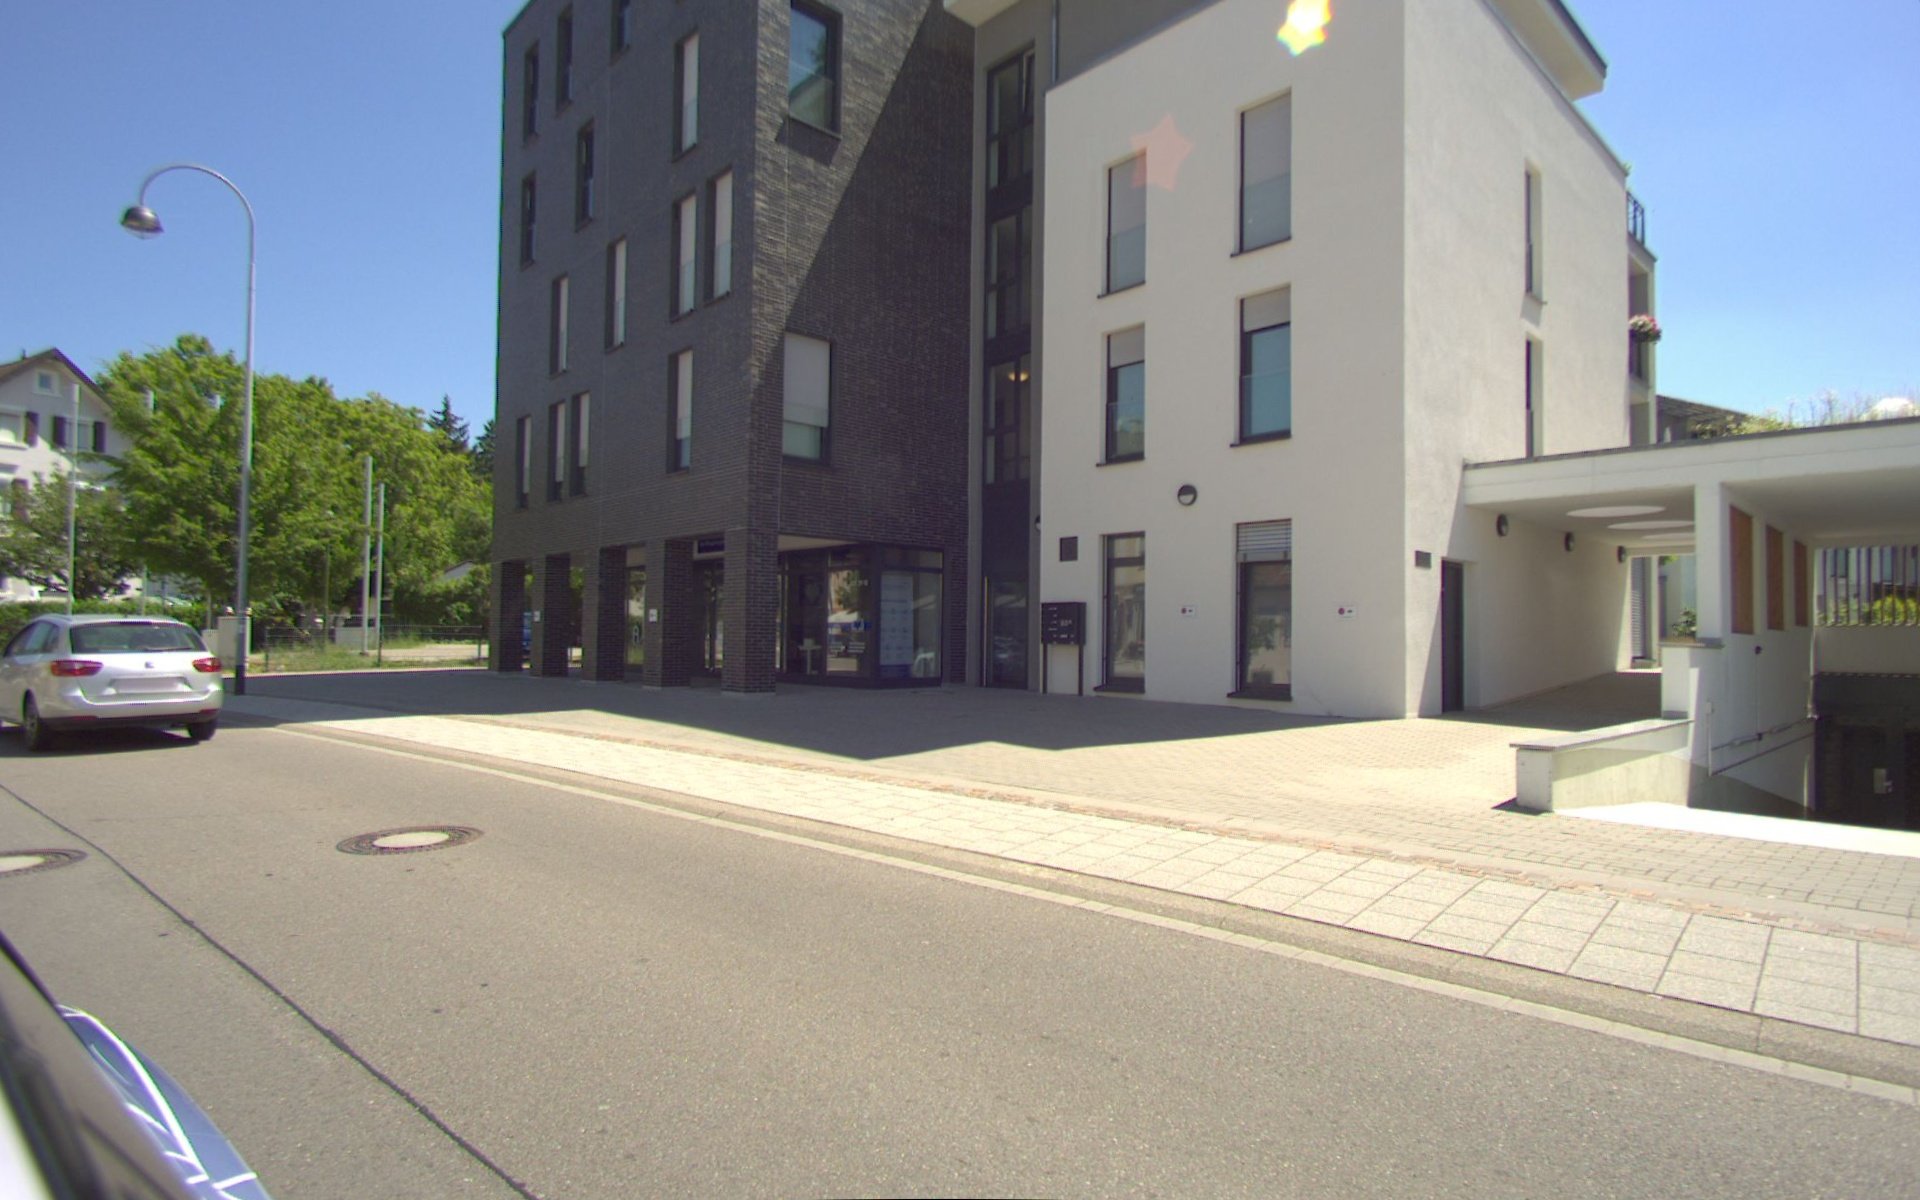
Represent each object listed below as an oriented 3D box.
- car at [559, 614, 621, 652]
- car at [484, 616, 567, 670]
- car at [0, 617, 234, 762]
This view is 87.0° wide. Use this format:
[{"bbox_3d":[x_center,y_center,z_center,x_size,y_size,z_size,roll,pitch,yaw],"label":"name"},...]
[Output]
[{"bbox_3d":[-15.470,1.352,42.246,1.662,1.503,3.778,1,-2,-32],"label":"car"},{"bbox_3d":[-13.160,1.263,30.506,1.671,1.497,4.092,3,-3,-31],"label":"car"},{"bbox_3d":[-10.088,0.913,11.746,3.841,1.407,1.651,-1,-1,37],"label":"car"}]
